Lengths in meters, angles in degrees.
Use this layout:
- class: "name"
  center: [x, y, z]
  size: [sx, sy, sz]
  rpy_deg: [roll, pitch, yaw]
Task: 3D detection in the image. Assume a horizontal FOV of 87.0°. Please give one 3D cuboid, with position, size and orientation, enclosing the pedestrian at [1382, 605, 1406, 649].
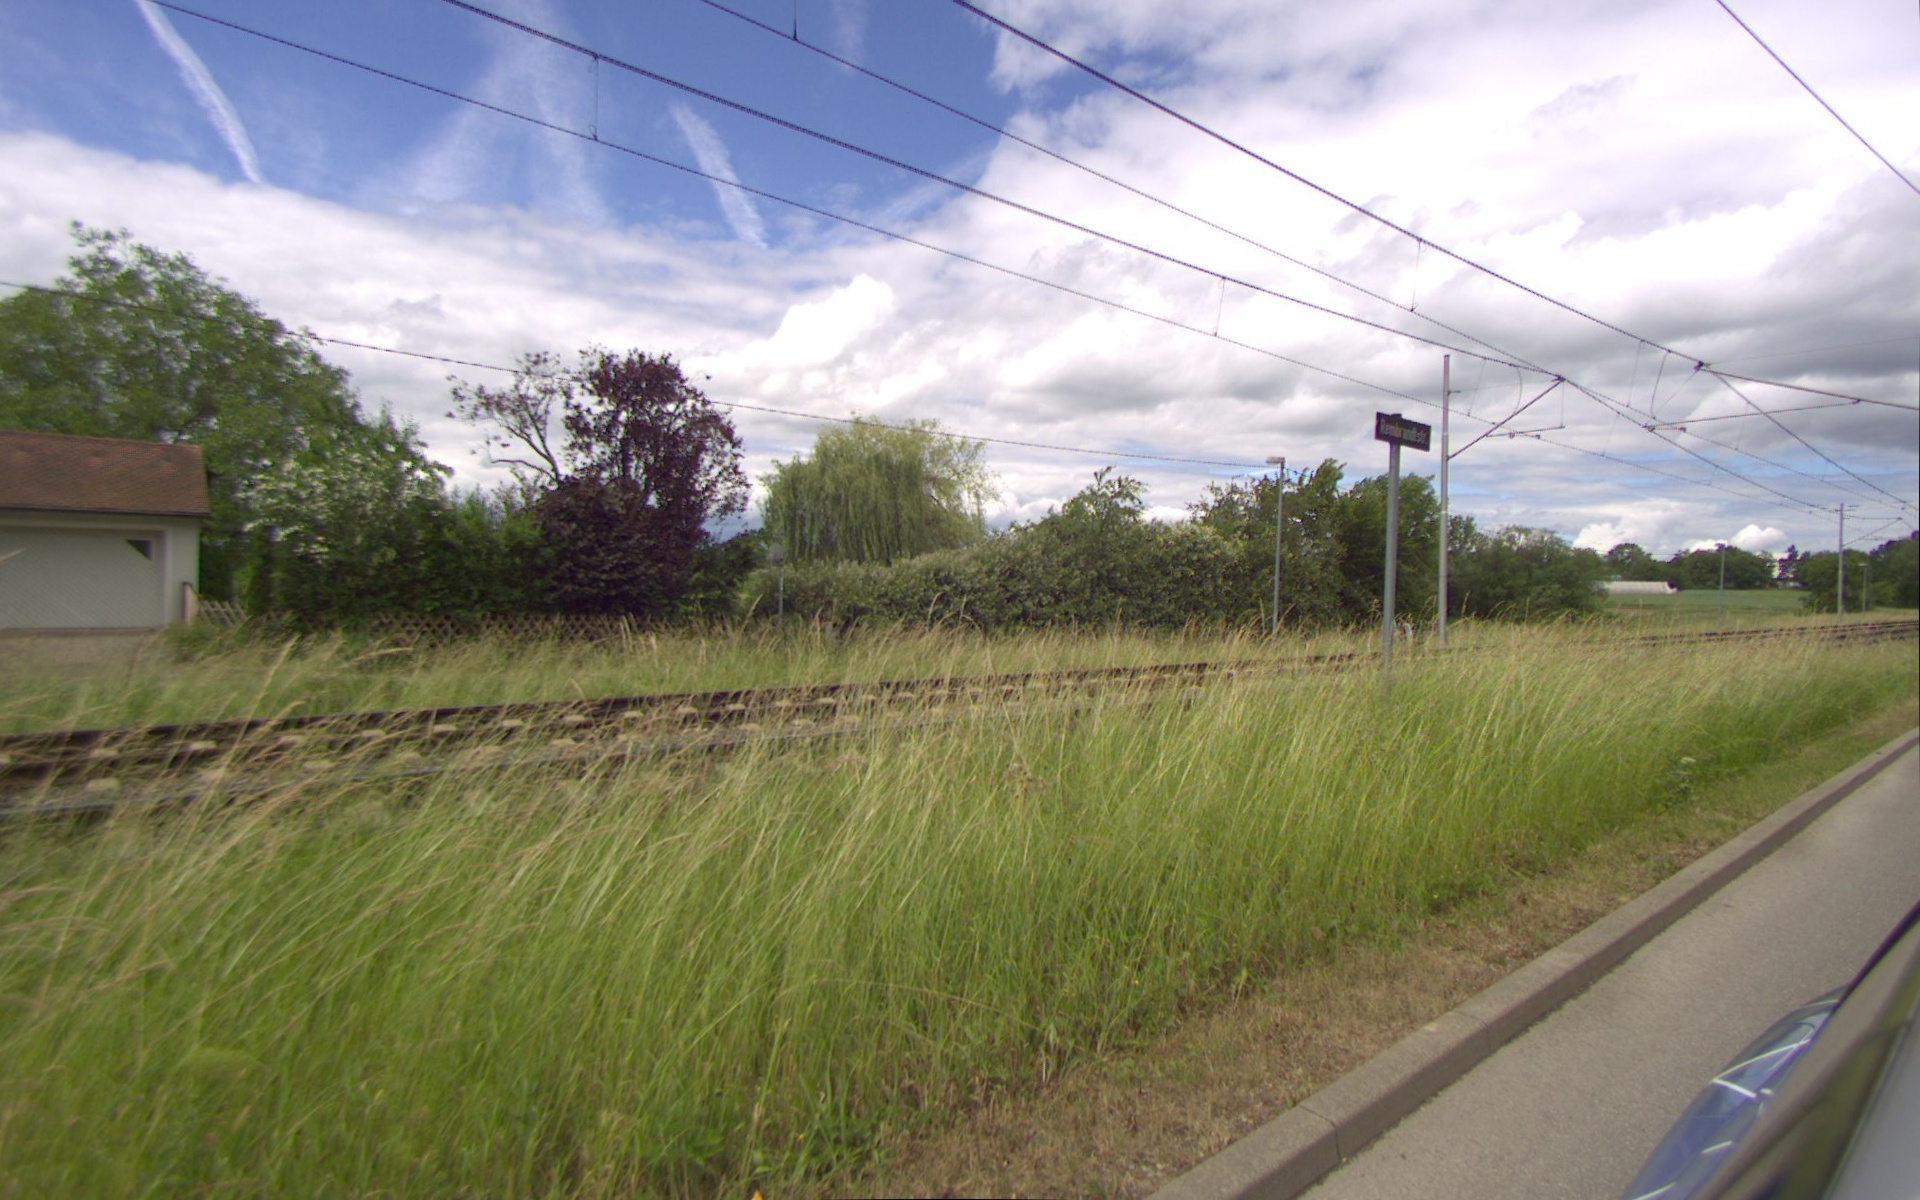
- class: "pedestrian"
  center: [16.301, 1.009, 38.026]
  size: [0.572, 1.643, 0.619]
  rpy_deg: [0, -1, -33]

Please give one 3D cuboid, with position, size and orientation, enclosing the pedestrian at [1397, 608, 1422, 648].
- class: "pedestrian"
  center: [16.609, 1.026, 37.391]
  size: [0.653, 1.449, 0.600]
  rpy_deg: [0, -1, -31]
